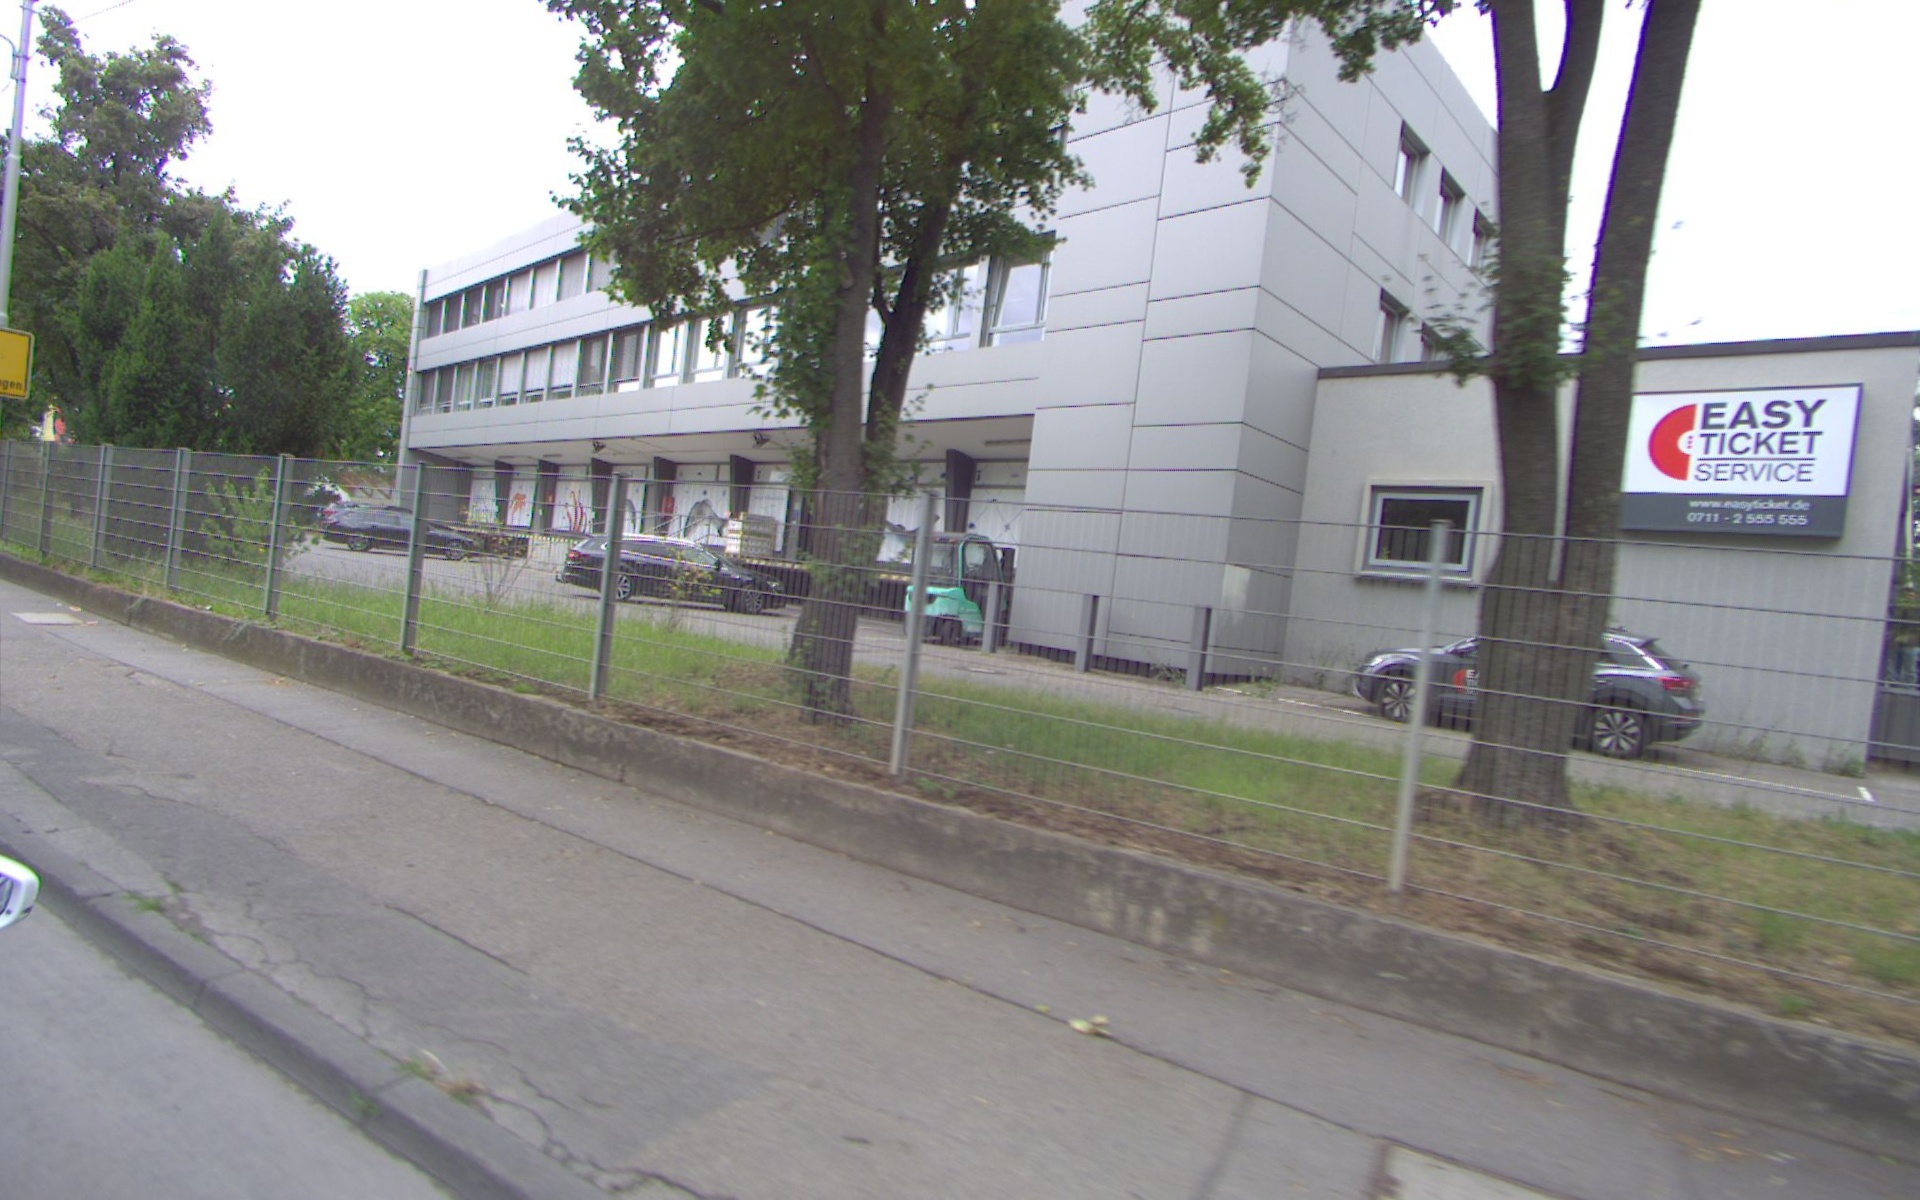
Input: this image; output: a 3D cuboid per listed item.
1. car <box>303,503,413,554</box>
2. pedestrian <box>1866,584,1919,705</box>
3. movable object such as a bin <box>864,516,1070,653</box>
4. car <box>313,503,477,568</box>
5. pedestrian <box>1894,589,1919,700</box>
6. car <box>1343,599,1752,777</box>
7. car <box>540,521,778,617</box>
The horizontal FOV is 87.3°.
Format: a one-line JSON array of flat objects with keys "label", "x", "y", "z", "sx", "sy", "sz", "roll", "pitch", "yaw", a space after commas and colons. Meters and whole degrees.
[{"label": "car", "x": -26.521, "y": -3.136, "z": 44.372, "sx": 1.832, "sy": 1.695, "sz": 3.694, "roll": 8, "pitch": 1, "yaw": 42}, {"label": "pedestrian", "x": 16.743, "y": 0.809, "z": 17.726, "sx": 0.791, "sy": 2.040, "sz": 0.909, "roll": 5, "pitch": 2, "yaw": -44}, {"label": "movable object such as a bin", "x": 0.237, "y": -0.254, "z": 20.704, "sx": 1.924, "sy": 2.335, "sz": 3.980, "roll": 8, "pitch": 1, "yaw": 40}, {"label": "car", "x": -19.771, "y": -2.245, "z": 35.485, "sx": 4.800, "sy": 1.553, "sz": 2.010, "roll": 7, "pitch": 1, "yaw": -26}, {"label": "pedestrian", "x": 15.891, "y": 0.766, "z": 16.177, "sx": 0.908, "sy": 1.775, "sz": 0.793, "roll": 6, "pitch": 2, "yaw": -22}, {"label": "car", "x": 7.851, "y": 1.040, "z": 13.711, "sx": 4.379, "sy": 1.588, "sz": 1.988, "roll": 8, "pitch": 4, "yaw": 41}, {"label": "car", "x": -6.364, "y": -0.644, "z": 21.748, "sx": 4.617, "sy": 1.493, "sz": 1.994, "roll": 6, "pitch": 1, "yaw": -13}]
